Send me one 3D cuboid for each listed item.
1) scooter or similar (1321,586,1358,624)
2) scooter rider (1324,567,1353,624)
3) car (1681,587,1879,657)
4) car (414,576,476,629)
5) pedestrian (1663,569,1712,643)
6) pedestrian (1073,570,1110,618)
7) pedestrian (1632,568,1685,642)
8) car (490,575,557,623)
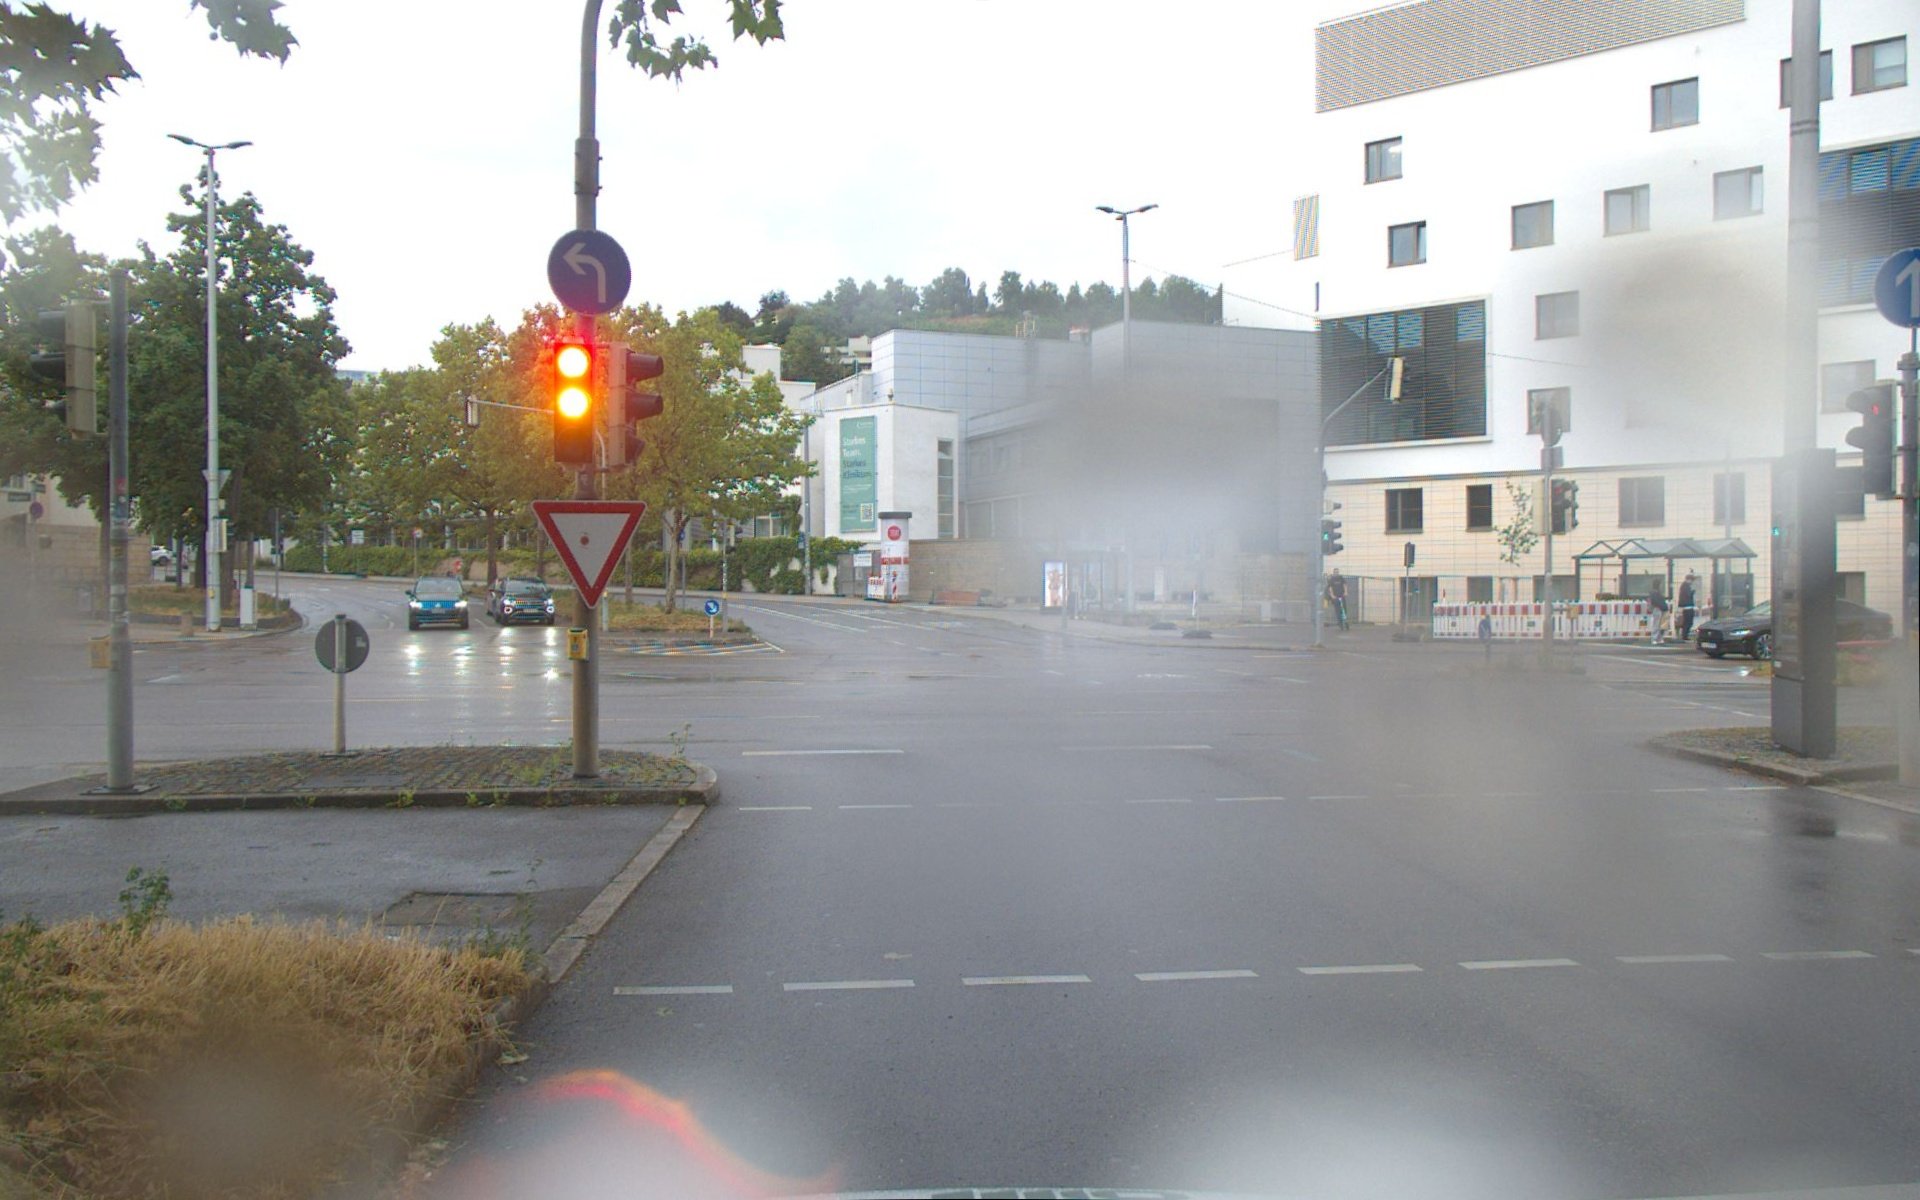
[{"bbox_3d":[12.987,0.174,56.558,0.582,1.260,1.305,2,-1,-22],"label":"scooter or similar"},{"bbox_3d":[12.934,-0.156,56.569,0.713,1.916,0.628,2,-1,-21],"label":"scooter rider"},{"bbox_3d":[18.987,0.509,38.318,3.921,1.469,1.790,2,0,-16],"label":"car"},{"bbox_3d":[-16.667,0.049,53.504,1.839,1.591,4.255,-1,2,-18],"label":"car"},{"bbox_3d":[19.612,0.171,44.594,0.980,1.969,0.955,1,-1,9],"label":"pedestrian"},{"bbox_3d":[4.922,-0.228,61.843,1.232,1.749,1.016,1,-1,-2],"label":"pedestrian"},{"bbox_3d":[17.992,0.125,42.618,0.934,1.872,0.821,2,-1,-12],"label":"pedestrian"},{"bbox_3d":[-15.187,-0.075,57.474,1.764,1.612,3.973,0,1,-22],"label":"car"}]
